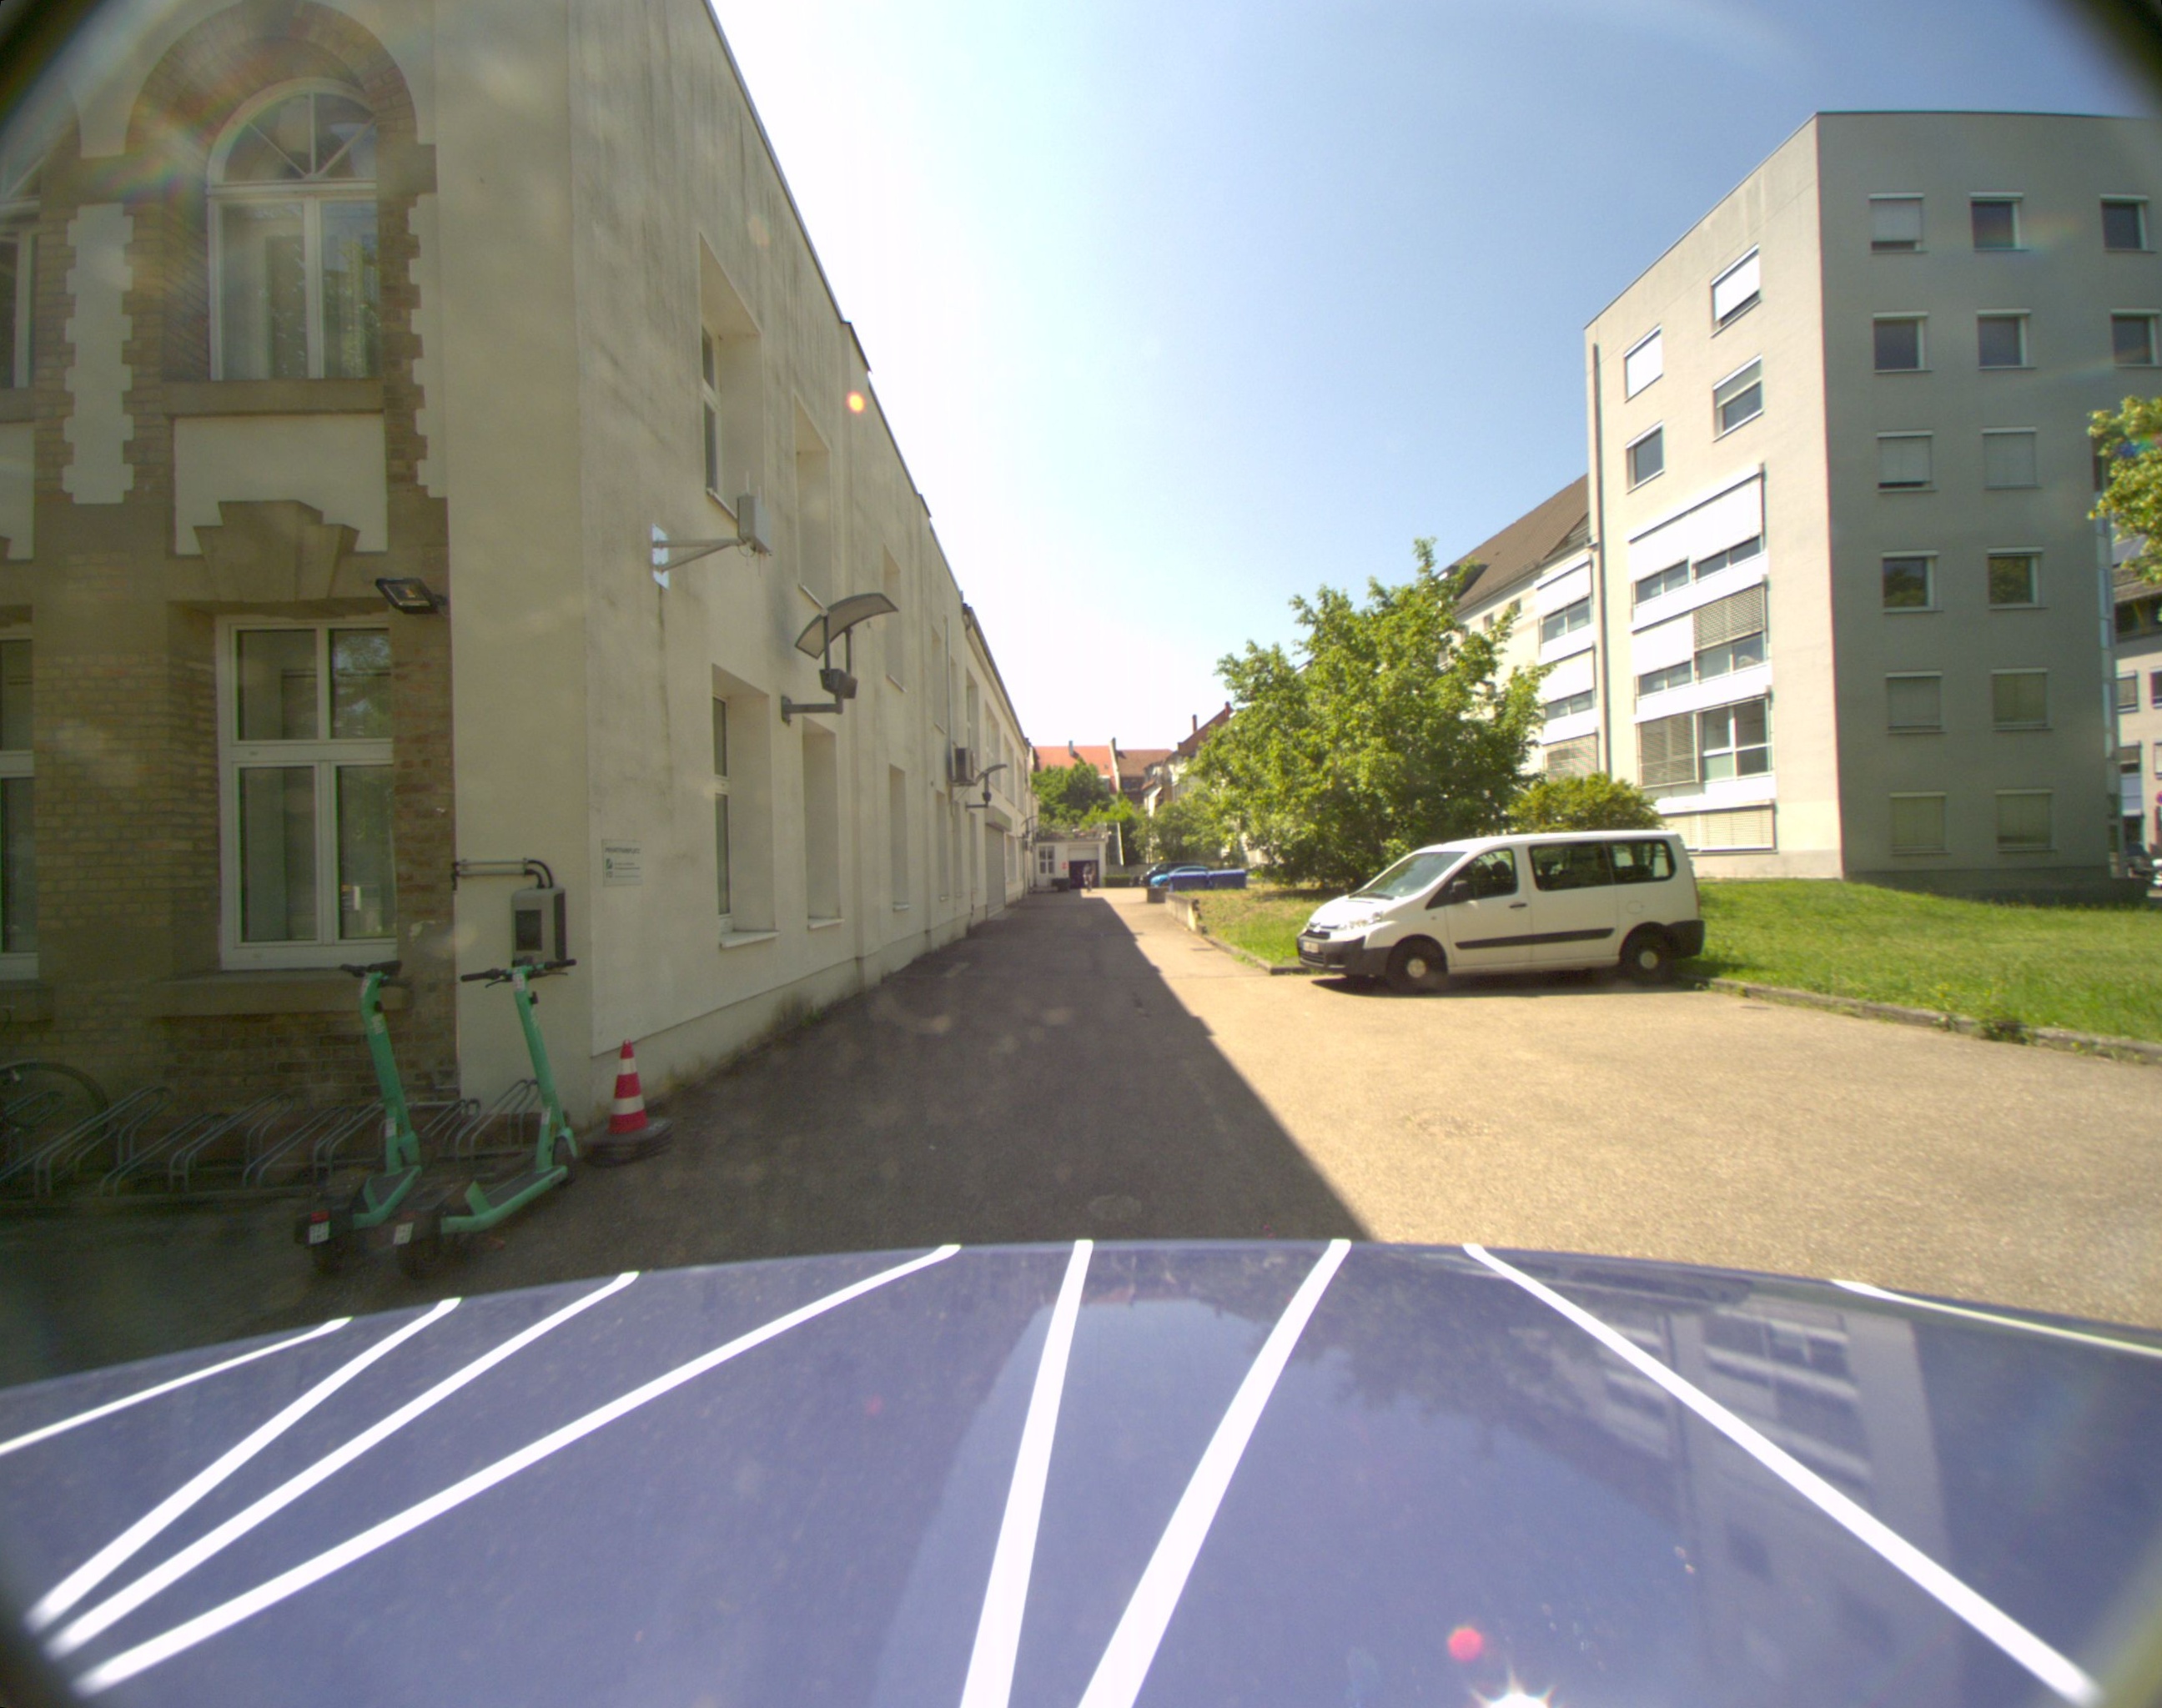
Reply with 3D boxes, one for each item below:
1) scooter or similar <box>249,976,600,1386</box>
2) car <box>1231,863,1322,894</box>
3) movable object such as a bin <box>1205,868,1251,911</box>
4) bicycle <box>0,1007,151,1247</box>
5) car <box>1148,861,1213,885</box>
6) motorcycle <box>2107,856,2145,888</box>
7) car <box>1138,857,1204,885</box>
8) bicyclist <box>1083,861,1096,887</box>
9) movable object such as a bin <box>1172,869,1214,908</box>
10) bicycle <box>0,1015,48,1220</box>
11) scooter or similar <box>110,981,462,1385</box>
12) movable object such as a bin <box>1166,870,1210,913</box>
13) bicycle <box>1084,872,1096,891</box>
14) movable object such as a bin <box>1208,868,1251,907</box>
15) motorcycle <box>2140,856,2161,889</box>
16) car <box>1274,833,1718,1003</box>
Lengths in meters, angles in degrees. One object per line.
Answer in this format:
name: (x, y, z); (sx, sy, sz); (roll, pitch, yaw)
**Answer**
scooter or similar: (-2.678, 1.225, 3.288); (0.465, 1.167, 1.356); (-2, 0, -9)
car: (9.656, 1.186, 37.692); (3.998, 1.428, 1.711); (-1, 0, -4)
movable object such as a bin: (4.857, 1.164, 25.220); (1.257, 1.320, 1.104); (-2, 0, 0)
bicycle: (-5.522, 1.391, 3.388); (0.454, 1.061, 1.835); (-2, -1, 1)
car: (6.902, 1.321, 52.877); (4.168, 1.544, 1.859); (-1, 0, -5)
motorcycle: (40.259, 0.678, 29.286); (2.308, 1.161, 0.698); (-1, 0, -40)
car: (6.538, 1.204, 55.547); (4.449, 1.821, 1.999); (-2, 0, -3)
bicyclist: (0.547, 1.266, 48.559); (0.724, 1.599, 0.978); (-2, -1, -2)
movable object such as a bin: (3.960, 1.213, 26.982); (1.257, 1.320, 1.104); (-2, 0, 0)
bicycle: (-6.073, 1.435, 3.361); (0.454, 1.061, 1.835); (-2, -1, 1)
scooter or similar: (-3.263, 1.237, 3.268); (0.465, 1.167, 1.254); (-2, 0, -17)
movable object such as a bin: (3.536, 1.233, 25.199); (1.257, 1.320, 1.104); (-2, 0, 0)
bicycle: (0.566, 1.731, 48.593); (0.645, 1.167, 1.904); (-2, -1, -2)
movable object such as a bin: (5.272, 1.179, 27.034); (1.257, 1.320, 1.104); (-2, 0, 0)
motorcycle: (40.863, 0.684, 28.784); (2.315, 1.161, 0.698); (-1, 0, -40)
car: (5.249, 0.762, 10.030); (4.802, 1.899, 2.000); (-1, -1, -5)
